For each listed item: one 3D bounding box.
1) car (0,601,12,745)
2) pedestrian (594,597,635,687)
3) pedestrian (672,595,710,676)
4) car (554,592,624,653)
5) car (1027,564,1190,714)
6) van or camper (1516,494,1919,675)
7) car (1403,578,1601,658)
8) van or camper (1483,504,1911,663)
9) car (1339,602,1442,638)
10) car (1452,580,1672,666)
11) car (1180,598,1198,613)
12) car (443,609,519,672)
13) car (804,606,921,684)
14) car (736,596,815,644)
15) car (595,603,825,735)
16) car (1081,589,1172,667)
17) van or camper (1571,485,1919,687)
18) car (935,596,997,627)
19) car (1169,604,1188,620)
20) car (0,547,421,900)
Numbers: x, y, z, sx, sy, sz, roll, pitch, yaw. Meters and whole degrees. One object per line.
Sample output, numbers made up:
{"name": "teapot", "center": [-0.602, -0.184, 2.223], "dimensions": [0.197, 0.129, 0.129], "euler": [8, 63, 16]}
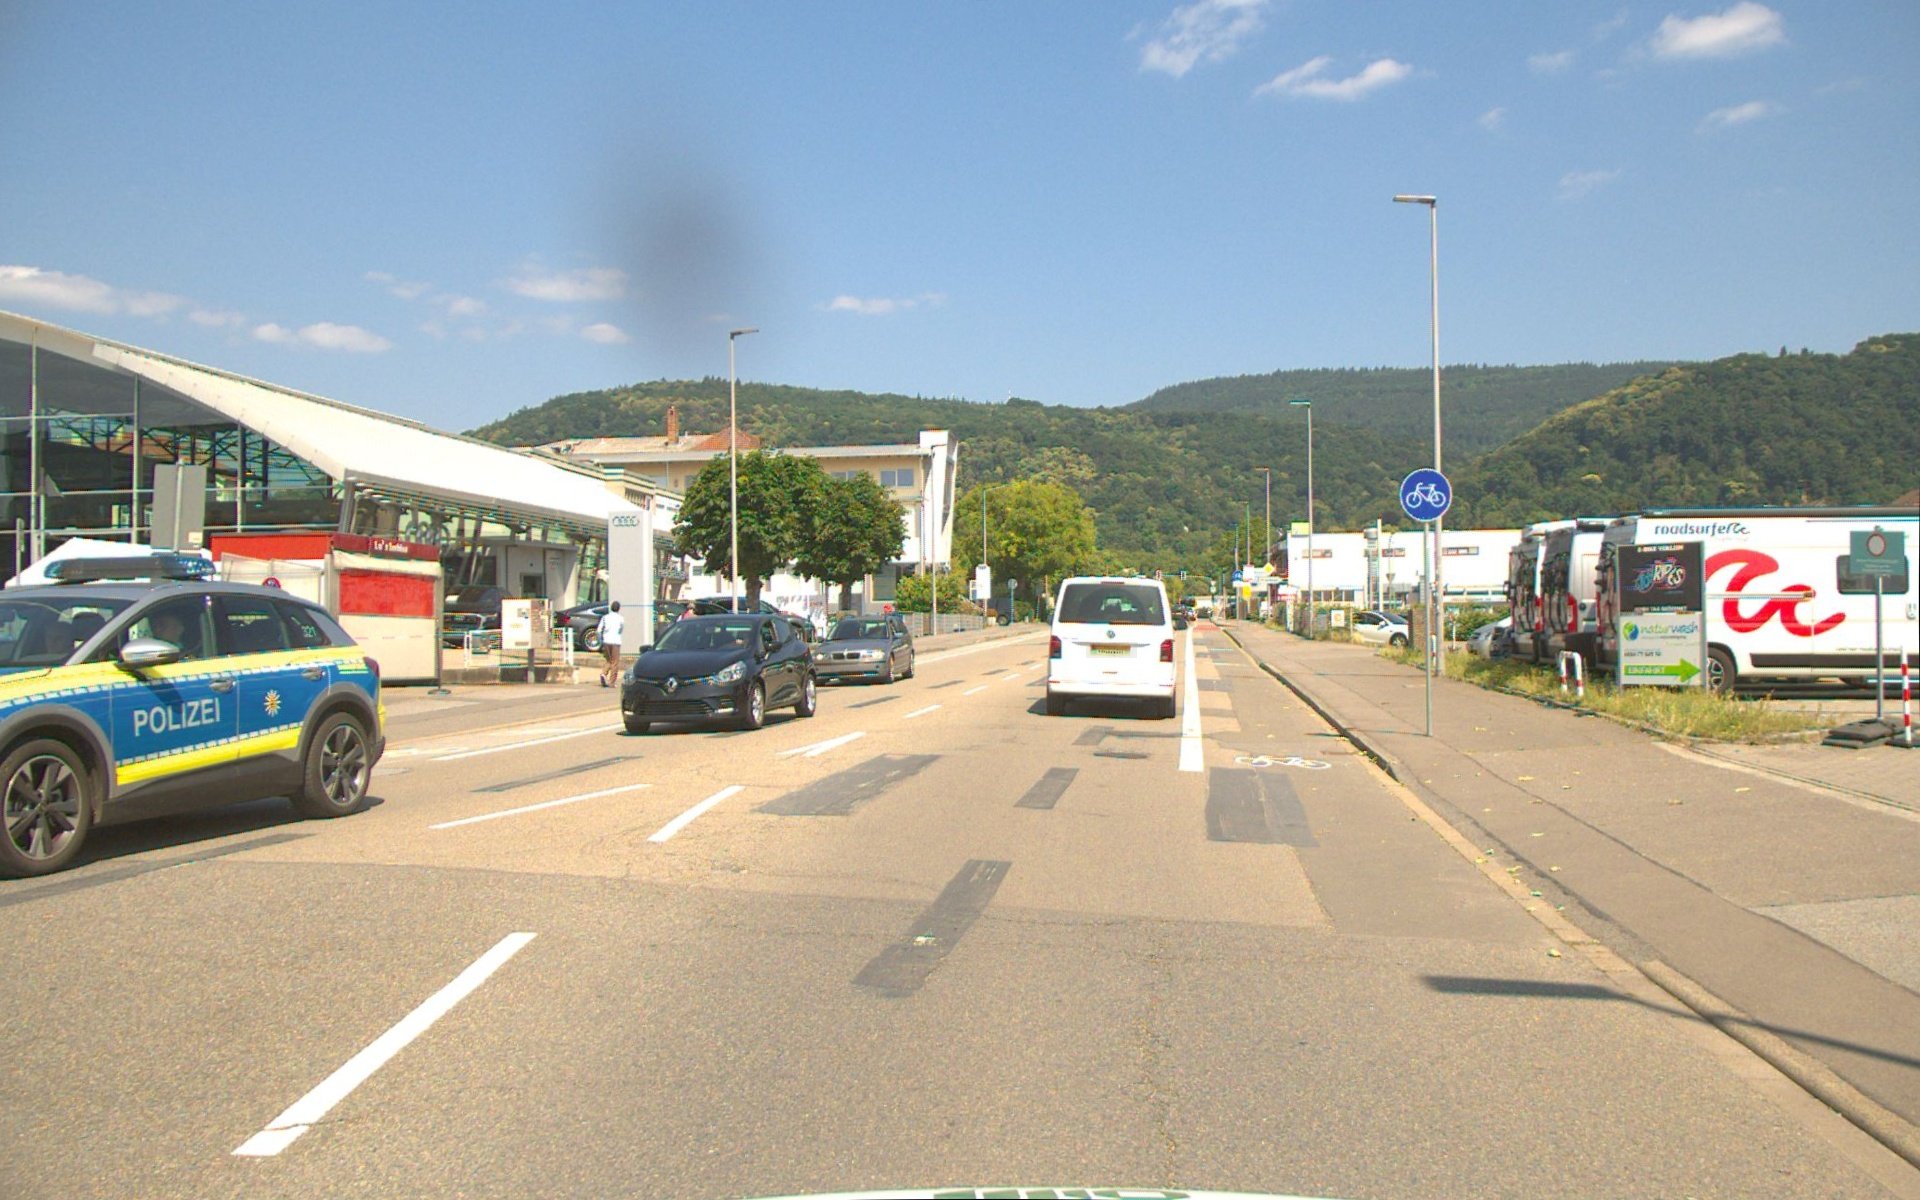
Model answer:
{"name": "car", "center": [-12.279, 0.870, 17.274], "dimensions": [1.951, 1.646, 4.004], "euler": [-1, 0, 11]}
{"name": "pedestrian", "center": [-7.102, 0.849, 34.061], "dimensions": [0.745, 1.820, 0.783], "euler": [-1, -1, -8]}
{"name": "pedestrian", "center": [-6.196, 0.809, 38.080], "dimensions": [0.744, 1.820, 0.927], "euler": [-1, -1, -4]}
{"name": "car", "center": [-10.495, 0.614, 46.621], "dimensions": [1.717, 1.612, 3.645], "euler": [-1, 0, -16]}
{"name": "car", "center": [2.394, 0.562, 25.402], "dimensions": [2.116, 2.049, 5.022], "euler": [0, -1, 9]}
{"name": "van or camper", "center": [12.665, -0.220, 26.641], "dimensions": [6.464, 2.606, 3.755], "euler": [-1, 0, 9]}
{"name": "car", "center": [12.840, 0.464, 39.424], "dimensions": [4.208, 1.783, 1.979], "euler": [-1, -2, 9]}
{"name": "van or camper", "center": [13.212, -0.259, 30.283], "dimensions": [6.464, 2.606, 3.403], "euler": [-1, 0, 9]}
{"name": "car", "center": [16.932, 0.796, 65.146], "dimensions": [1.644, 1.333, 3.648], "euler": [-1, 0, -41]}
{"name": "car", "center": [13.162, 0.529, 36.395], "dimensions": [4.208, 1.783, 1.979], "euler": [-1, -2, 9]}
{"name": "car", "center": [26.333, 0.613, 190.392], "dimensions": [1.951, 1.713, 4.003], "euler": [-1, 0, 7]}
{"name": "car", "center": [-13.024, 1.072, 45.167], "dimensions": [1.715, 1.612, 3.650], "euler": [-1, 0, -12]}
{"name": "car", "center": [-2.025, 0.923, 35.514], "dimensions": [1.802, 1.489, 4.003], "euler": [-2, 0, 6]}
{"name": "car", "center": [-6.587, 0.713, 58.891], "dimensions": [1.723, 1.612, 3.632], "euler": [-1, 0, -25]}
{"name": "car", "center": [-3.145, 0.857, 21.664], "dimensions": [1.802, 1.490, 4.003], "euler": [-3, -1, 9]}
{"name": "car", "center": [4.083, 0.716, 40.061], "dimensions": [1.951, 1.737, 4.003], "euler": [2, -2, 9]}
{"name": "van or camper", "center": [12.233, -0.189, 23.232], "dimensions": [6.365, 2.606, 2.977], "euler": [-1, 0, 9]}
{"name": "car", "center": [0.394, 0.819, 115.534], "dimensions": [4.227, 2.049, 1.999], "euler": [-1, 0, -4]}
{"name": "car", "center": [20.386, 1.111, 154.208], "dimensions": [1.682, 1.326, 4.003], "euler": [-2, 0, 7]}
{"name": "car", "center": [-5.420, 0.634, 10.329], "dimensions": [1.868, 1.791, 4.455], "euler": [-2, 0, 12]}
